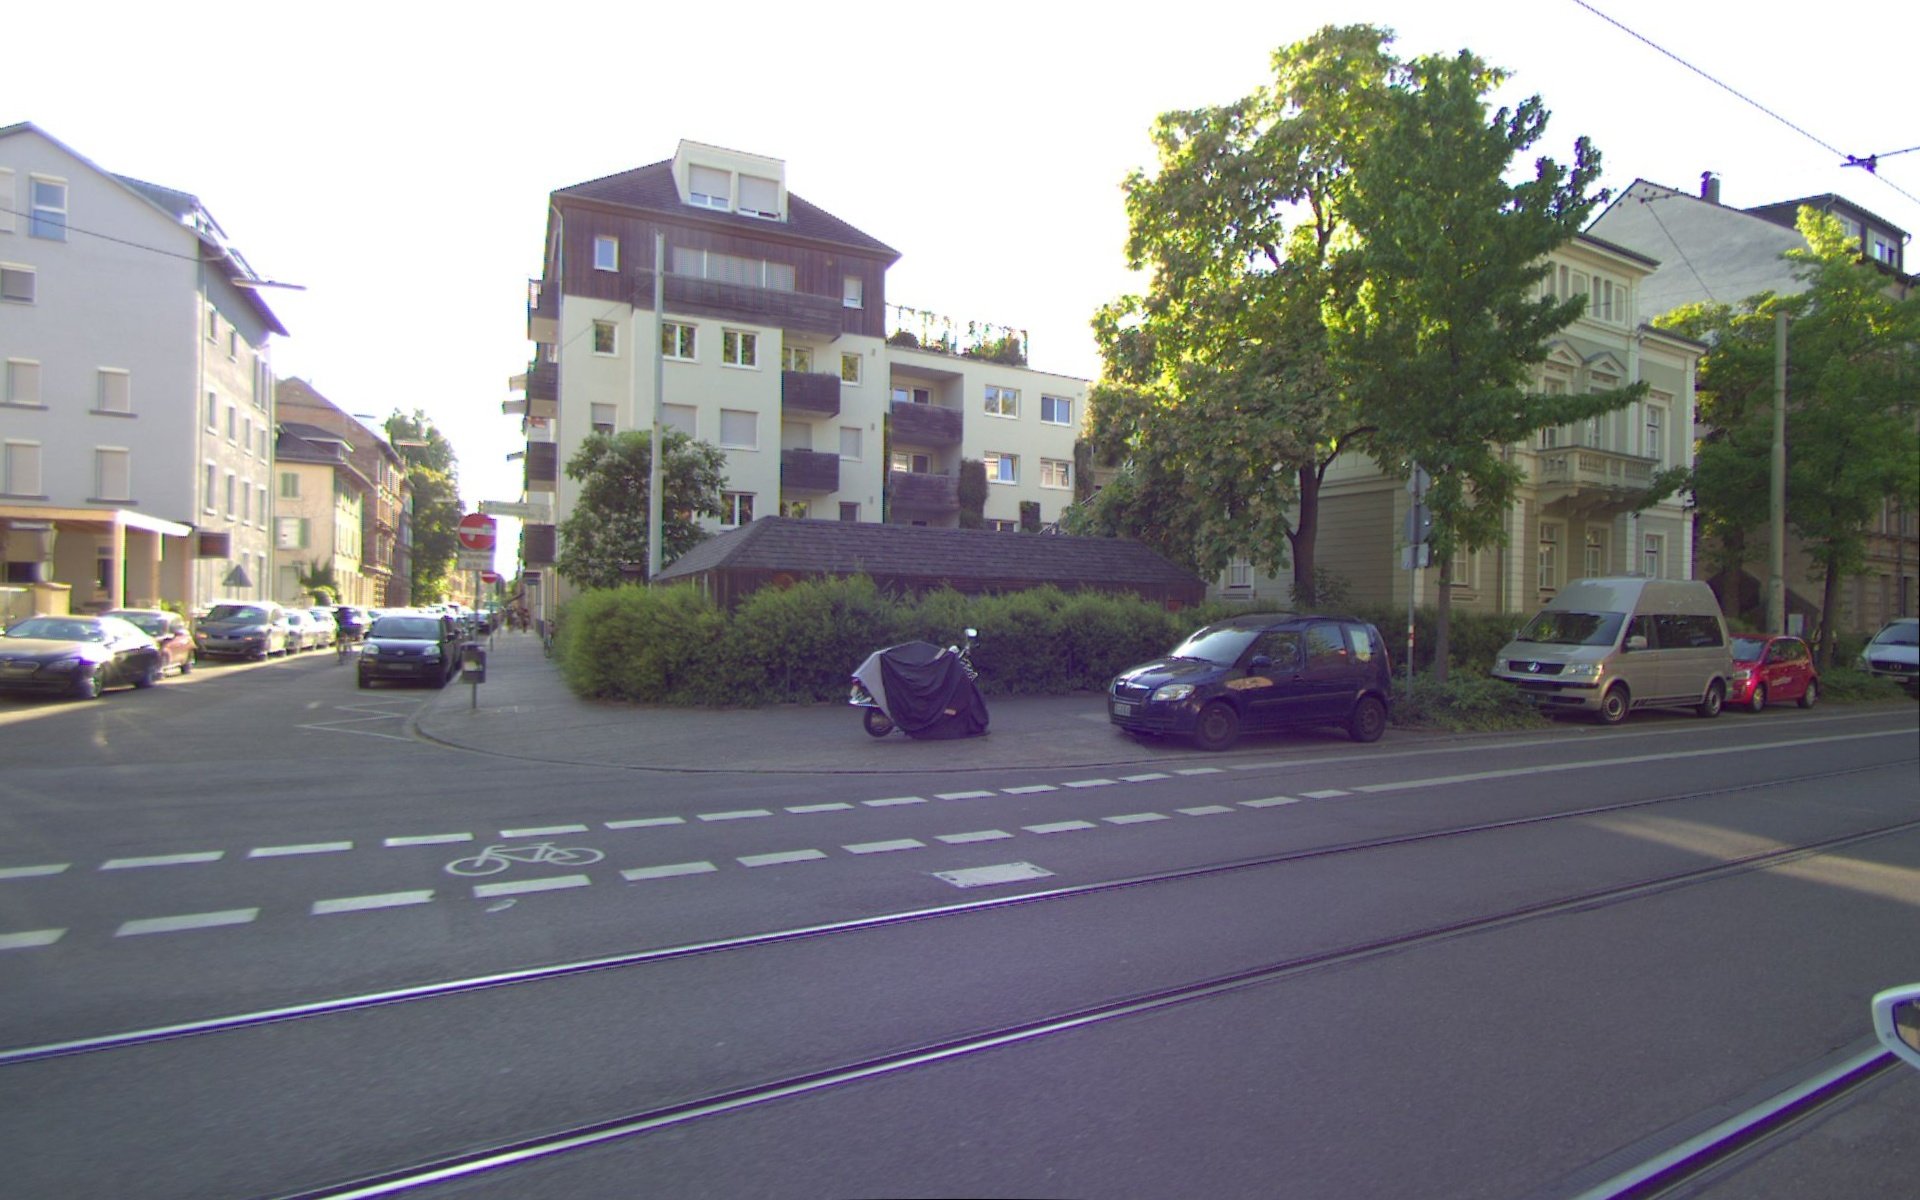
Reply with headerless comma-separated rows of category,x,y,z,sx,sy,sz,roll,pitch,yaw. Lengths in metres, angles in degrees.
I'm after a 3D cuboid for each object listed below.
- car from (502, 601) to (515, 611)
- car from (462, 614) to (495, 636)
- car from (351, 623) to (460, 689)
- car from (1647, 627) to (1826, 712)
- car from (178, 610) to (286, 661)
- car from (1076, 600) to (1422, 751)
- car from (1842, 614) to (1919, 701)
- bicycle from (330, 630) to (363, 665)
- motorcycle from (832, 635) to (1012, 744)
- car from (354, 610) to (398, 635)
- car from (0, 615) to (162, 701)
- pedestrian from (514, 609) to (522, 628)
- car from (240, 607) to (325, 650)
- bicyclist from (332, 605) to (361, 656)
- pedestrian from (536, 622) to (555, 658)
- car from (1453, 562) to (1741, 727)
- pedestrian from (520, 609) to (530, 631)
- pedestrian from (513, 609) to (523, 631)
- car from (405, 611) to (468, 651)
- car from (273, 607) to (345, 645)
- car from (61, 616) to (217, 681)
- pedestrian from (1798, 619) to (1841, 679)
car,-76.510,1.039,170.242,1.856,1.595,4.048,1,-1,-26
car,-31.249,1.612,65.190,1.856,1.325,4.048,1,-1,-26
car,-12.037,1.170,22.029,1.856,1.270,4.048,1,-1,-26
car,15.868,1.364,20.500,3.665,1.560,1.676,2,-1,-31
car,-22.057,1.064,30.590,1.940,1.442,4.049,1,-1,-26
car,3.839,0.912,13.268,4.207,1.712,1.985,1,-1,-28
car,24.287,1.411,25.139,4.928,2.015,1.835,2,-1,-30
bicycle,-17.693,1.349,28.993,0.639,0.940,1.965,1,-1,-27
motorcycle,-0.451,1.050,12.282,2.122,1.155,0.670,-1,3,-28
car,-34.964,1.336,60.219,1.940,1.442,4.049,1,-1,-26
car,-16.450,0.998,18.436,1.940,1.407,4.049,1,-1,-26
pedestrian,-38.306,1.602,87.065,0.642,1.683,0.646,1,-1,-27
car,-24.408,1.027,36.317,1.940,1.442,4.049,1,-1,-26
bicyclist,-17.661,0.879,28.930,0.639,1.453,0.800,1,-1,-27
pedestrian,-13.193,1.259,31.963,0.493,1.122,1.790,1,-1,-24
car,11.393,0.751,17.868,5.284,2.541,2.291,2,-1,-32
pedestrian,-34.187,1.577,78.953,0.642,1.683,0.646,1,-1,-27
pedestrian,-34.314,1.559,78.047,0.642,1.683,0.646,1,-1,-27
car,-18.668,1.097,35.970,1.856,1.325,4.048,1,-1,-26
car,-26.373,1.048,40.812,1.940,1.442,4.049,1,-1,-26
car,-19.367,1.100,23.921,1.940,1.406,4.049,1,-1,-26
pedestrian,24.551,1.392,28.685,0.936,1.684,0.602,1,0,-29
